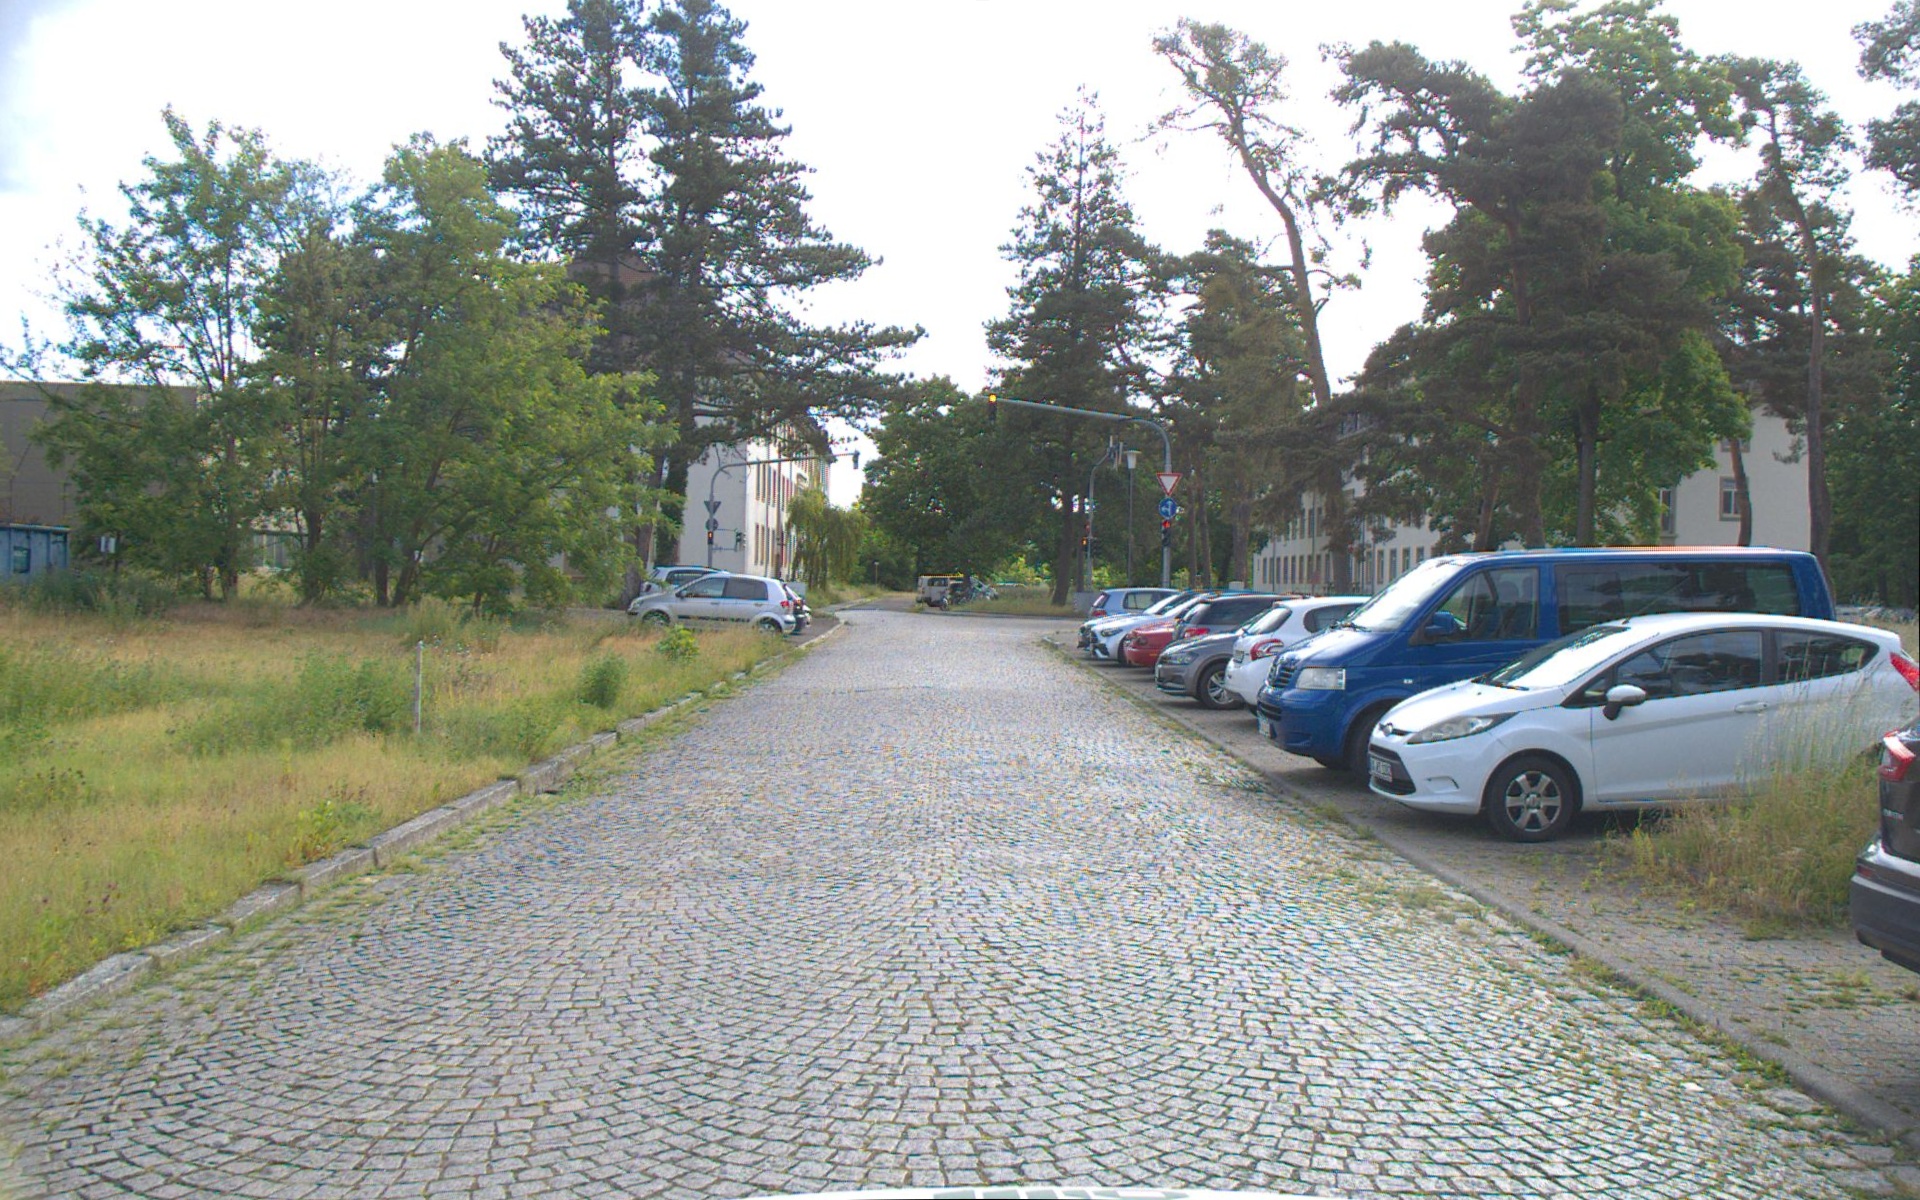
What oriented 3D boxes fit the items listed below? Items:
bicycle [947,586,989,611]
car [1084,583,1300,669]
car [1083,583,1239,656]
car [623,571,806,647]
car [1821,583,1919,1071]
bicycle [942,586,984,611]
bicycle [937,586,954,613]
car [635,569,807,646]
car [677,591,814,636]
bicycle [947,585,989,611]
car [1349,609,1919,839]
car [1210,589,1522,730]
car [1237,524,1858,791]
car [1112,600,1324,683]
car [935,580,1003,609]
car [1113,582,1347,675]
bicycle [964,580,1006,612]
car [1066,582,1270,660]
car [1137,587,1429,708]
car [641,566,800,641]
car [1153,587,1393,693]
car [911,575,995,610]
[{"bbox_3d":[0.406,-0.088,87.448,2.120,1.290,0.811,1,0,-8],"label":"bicycle"},{"bbox_3d":[4.544,0.497,32.600,3.911,1.570,1.662,1,1,-7],"label":"car"},{"bbox_3d":[4.596,0.439,37.978,3.324,1.570,1.389,1,1,-7],"label":"car"},{"bbox_3d":[-5.450,0.187,36.953,3.911,1.579,1.997,1,1,-7],"label":"car"},{"bbox_3d":[5.133,0.804,5.258,3.871,1.608,1.761,1,1,-3],"label":"car"},{"bbox_3d":[0.151,-0.096,88.655,2.120,1.290,0.811,1,0,-8],"label":"bicycle"},{"bbox_3d":[-0.740,-0.044,83.073,0.793,1.290,1.973,1,1,0],"label":"bicycle"},{"bbox_3d":[-5.654,0.168,39.411,3.911,1.735,1.997,1,1,-7],"label":"car"},{"bbox_3d":[-5.780,0.357,44.681,3.601,1.113,1.644,1,1,-7],"label":"car"},{"bbox_3d":[0.421,-0.089,86.860,2.120,1.290,0.811,1,0,-8],"label":"bicycle"},{"bbox_3d":[4.782,0.809,11.685,3.648,1.449,1.653,0,1,-4],"label":"car"},{"bbox_3d":[4.738,0.669,19.592,3.227,1.531,1.663,1,1,-3],"label":"car"},{"bbox_3d":[4.898,0.462,14.175,4.687,2.075,1.737,1,1,-3],"label":"car"},{"bbox_3d":[4.346,0.686,28.107,3.229,1.289,1.662,1,1,-7],"label":"car"},{"bbox_3d":[0.540,-0.327,101.410,3.911,1.673,1.997,1,0,-7],"label":"car"},{"bbox_3d":[4.918,0.500,30.367,3.911,1.570,1.662,1,0,-7],"label":"car"},{"bbox_3d":[1.308,-0.226,88.178,2.120,1.644,0.811,1,0,-8],"label":"bicycle"},{"bbox_3d":[4.420,0.437,35.404,4.044,1.570,1.662,1,1,-7],"label":"car"},{"bbox_3d":[4.363,0.633,22.513,3.534,1.533,1.659,1,1,-12],"label":"car"},{"bbox_3d":[-6.139,0.073,42.483,3.912,1.780,1.924,1,0,-8],"label":"car"},{"bbox_3d":[4.772,0.601,25.401,3.234,1.530,1.659,1,1,-12],"label":"car"},{"bbox_3d":[-0.464,-0.499,104.664,4.961,2.049,1.994,1,0,-12],"label":"car"}]
